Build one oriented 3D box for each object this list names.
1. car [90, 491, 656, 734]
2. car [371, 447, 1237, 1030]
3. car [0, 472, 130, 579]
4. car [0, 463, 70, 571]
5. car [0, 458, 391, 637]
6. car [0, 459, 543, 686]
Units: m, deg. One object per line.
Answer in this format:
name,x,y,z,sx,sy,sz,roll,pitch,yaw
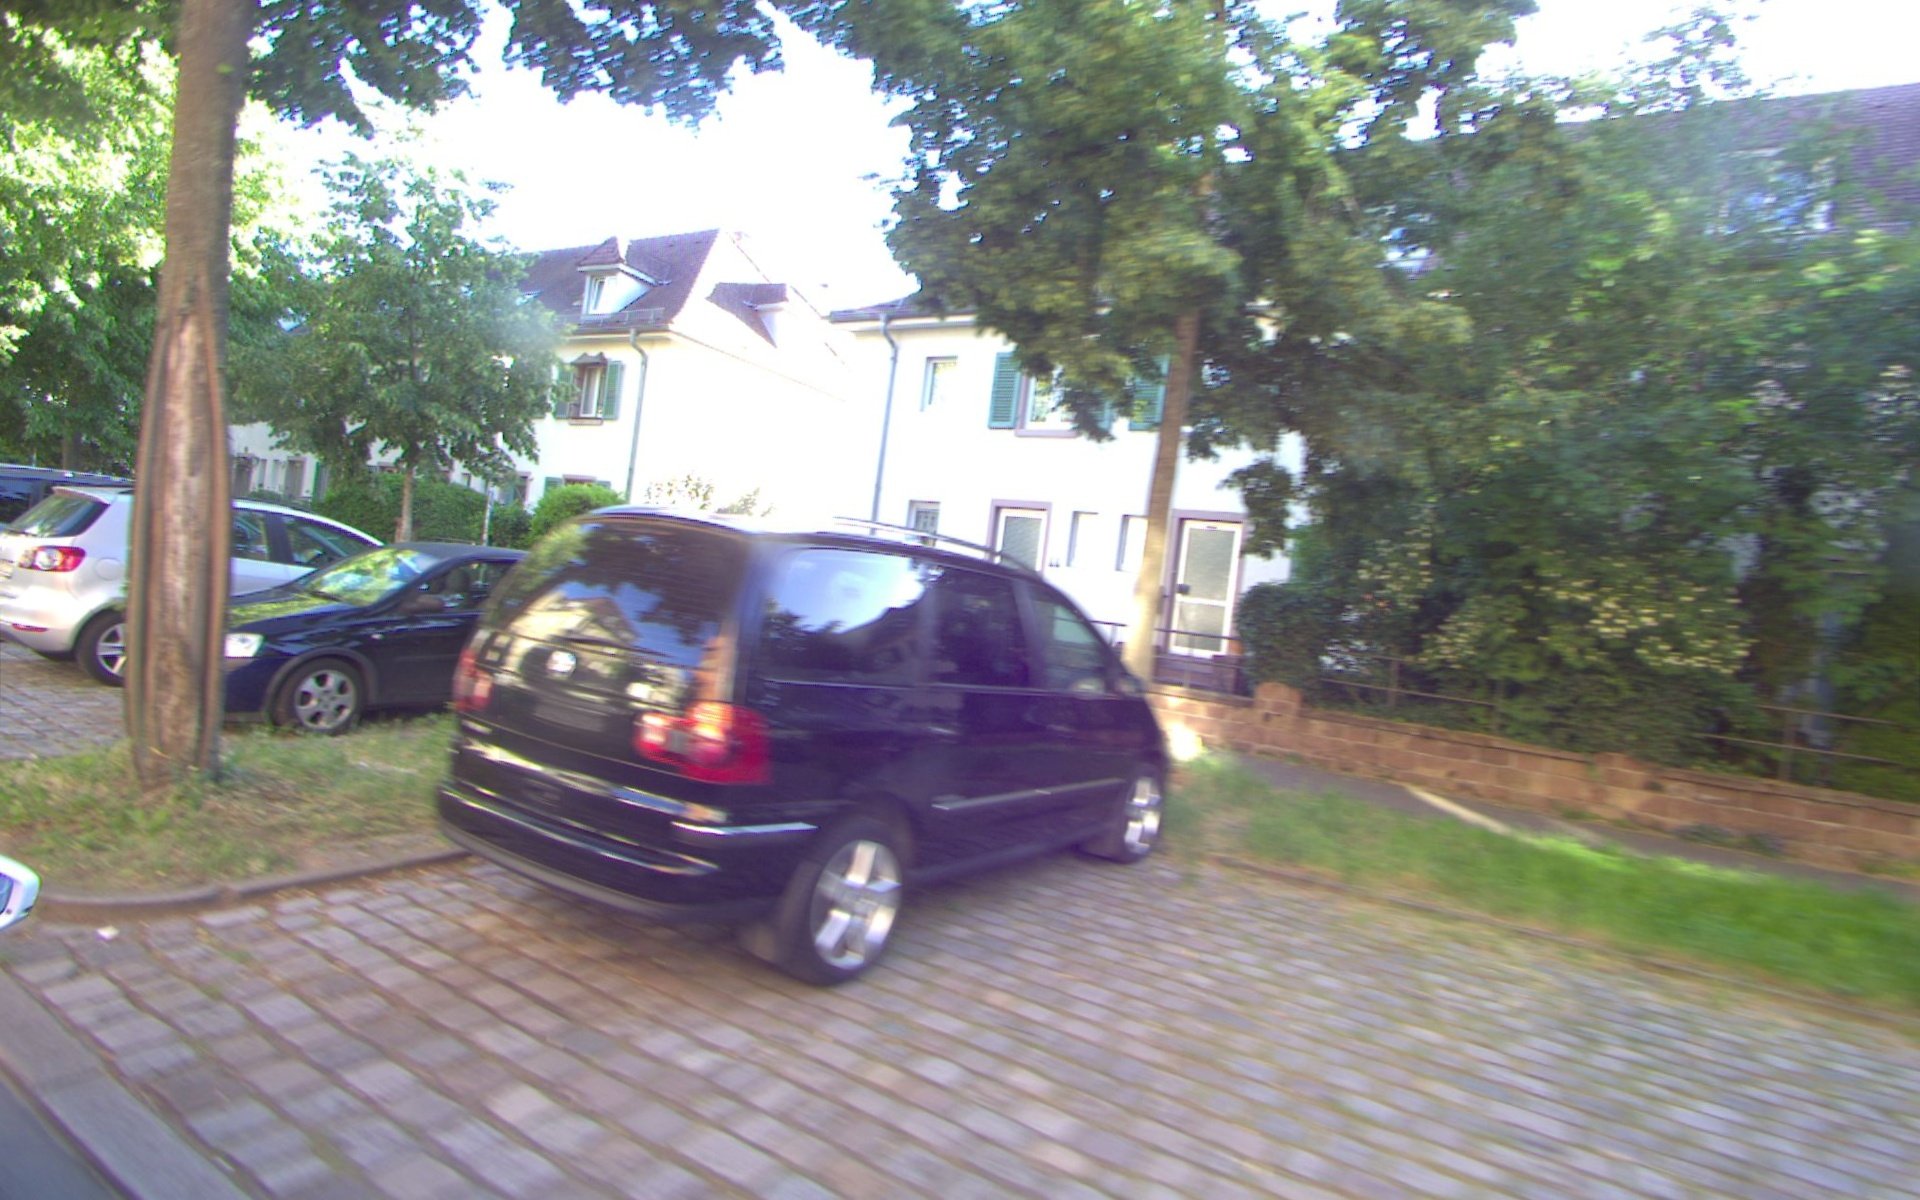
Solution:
car,-4.564,0.092,8.376,1.562,1.473,3.722,7,2,31
car,-0.258,0.415,5.387,1.876,1.699,4.580,7,2,33
car,-15.323,-1.244,15.089,1.666,1.496,4.067,8,3,32
car,-17.545,-1.577,16.061,1.803,1.731,4.621,7,1,33
car,-8.990,-0.547,11.004,1.780,1.655,4.544,7,2,26
car,-6.438,-0.203,9.571,1.663,1.655,4.270,7,2,35
